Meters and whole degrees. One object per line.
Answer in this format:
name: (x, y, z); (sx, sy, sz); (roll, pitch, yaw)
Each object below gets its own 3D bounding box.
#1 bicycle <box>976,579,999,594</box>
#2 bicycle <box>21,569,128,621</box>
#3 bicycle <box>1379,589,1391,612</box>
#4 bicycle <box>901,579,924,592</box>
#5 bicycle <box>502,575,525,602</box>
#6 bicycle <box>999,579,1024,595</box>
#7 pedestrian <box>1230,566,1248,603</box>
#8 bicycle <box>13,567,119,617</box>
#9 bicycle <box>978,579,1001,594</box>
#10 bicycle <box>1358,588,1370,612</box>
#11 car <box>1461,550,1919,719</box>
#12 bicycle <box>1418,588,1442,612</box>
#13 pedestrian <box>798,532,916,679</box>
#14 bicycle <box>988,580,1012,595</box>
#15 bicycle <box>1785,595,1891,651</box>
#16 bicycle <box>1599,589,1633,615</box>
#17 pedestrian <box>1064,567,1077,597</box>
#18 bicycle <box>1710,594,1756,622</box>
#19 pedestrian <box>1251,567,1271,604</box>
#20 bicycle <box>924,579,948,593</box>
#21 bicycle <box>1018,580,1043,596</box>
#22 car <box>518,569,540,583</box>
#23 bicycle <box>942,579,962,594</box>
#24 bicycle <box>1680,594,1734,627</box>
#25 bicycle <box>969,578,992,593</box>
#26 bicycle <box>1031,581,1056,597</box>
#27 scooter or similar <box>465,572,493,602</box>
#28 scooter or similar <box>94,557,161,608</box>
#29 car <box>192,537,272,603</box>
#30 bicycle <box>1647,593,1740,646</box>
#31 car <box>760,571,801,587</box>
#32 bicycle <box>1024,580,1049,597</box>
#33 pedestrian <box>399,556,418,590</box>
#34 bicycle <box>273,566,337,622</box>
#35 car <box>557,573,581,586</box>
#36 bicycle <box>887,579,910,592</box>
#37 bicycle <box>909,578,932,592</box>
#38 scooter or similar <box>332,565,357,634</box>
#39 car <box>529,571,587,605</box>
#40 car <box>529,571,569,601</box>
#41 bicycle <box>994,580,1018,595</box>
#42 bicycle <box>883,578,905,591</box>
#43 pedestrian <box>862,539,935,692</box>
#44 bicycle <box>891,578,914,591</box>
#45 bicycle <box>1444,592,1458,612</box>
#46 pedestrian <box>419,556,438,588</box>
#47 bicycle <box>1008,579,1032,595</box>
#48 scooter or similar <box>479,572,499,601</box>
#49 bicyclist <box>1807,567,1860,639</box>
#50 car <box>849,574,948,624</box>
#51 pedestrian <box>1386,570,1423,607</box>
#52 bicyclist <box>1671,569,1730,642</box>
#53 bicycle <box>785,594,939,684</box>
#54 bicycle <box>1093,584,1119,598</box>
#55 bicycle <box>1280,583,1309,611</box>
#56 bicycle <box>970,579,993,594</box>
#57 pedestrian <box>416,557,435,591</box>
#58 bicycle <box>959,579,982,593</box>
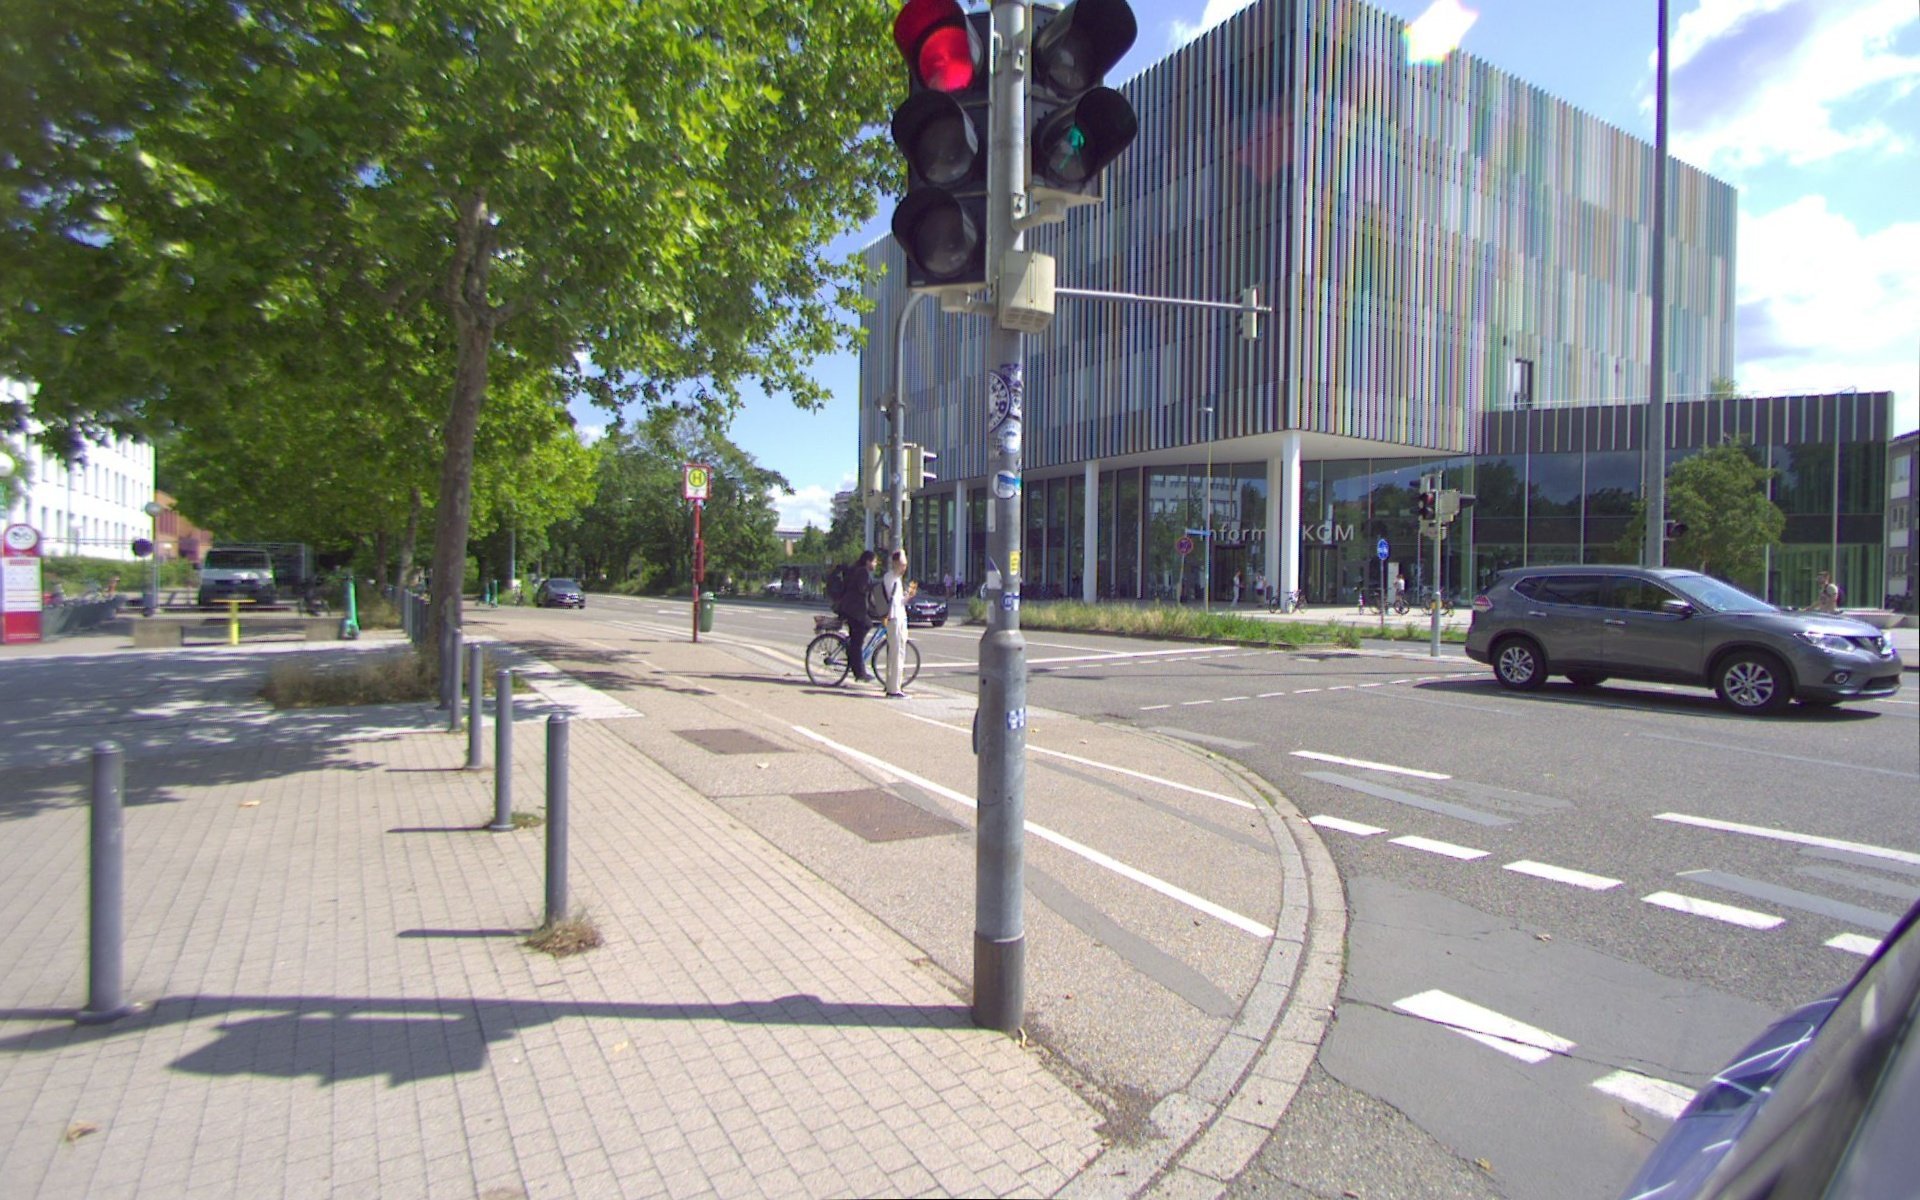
bicycle: (1.831, -0.919, 67.183); (1.514, 0.967, 0.374); (-1, 2, -17)
bicycle: (-20.394, -0.135, 23.338); (0.598, 1.112, 1.751); (1, 3, 27)
bicycle: (18.536, 0.007, 44.132); (0.369, 0.967, 1.763); (1, 2, 19)
bicycle: (-3.549, -1.081, 76.023); (1.750, 0.967, 0.433); (-2, 2, -32)
bicycle: (-20.818, -0.531, 47.178); (0.627, 1.206, 2.120); (2, 0, -32)
bicycle: (3.279, -0.834, 64.284); (1.514, 0.967, 0.374); (-1, 2, -17)
pedestrian: (14.040, -0.799, 50.962); (0.774, 1.864, 0.517); (0, 1, 3)
bicycle: (-20.958, -0.218, 23.752); (0.598, 1.112, 1.751); (1, 3, 27)
bicycle: (1.935, -0.882, 66.577); (1.514, 0.967, 0.374); (-1, 2, -17)
bicycle: (17.640, -0.009, 44.210); (0.369, 0.967, 1.537); (1, 2, 19)
car: (8.862, 0.270, 12.590); (1.788, 1.699, 4.485); (0, 2, -28)
bicycle: (20.099, -0.015, 43.258); (0.526, 0.967, 1.749); (2, 2, 38)
pedestrian: (-1.393, 0.071, 13.641); (1.152, 1.842, 0.857); (5, 1, -33)
bicycle: (2.572, -0.822, 65.799); (1.514, 0.967, 0.374); (-1, 2, -17)
bicycle: (19.332, 0.488, 22.336); (1.660, 1.138, 0.687); (2, 1, 34)
bicycle: (26.294, 0.084, 40.565); (0.521, 0.967, 1.768); (1, 2, 12)
pedestrian: (6.900, -1.121, 63.054); (0.552, 1.864, 0.554); (-1, 2, -39)
bicycle: (29.619, 0.293, 38.791); (0.520, 0.967, 1.771); (1, 2, 6)
pedestrian: (15.153, -0.733, 50.933); (0.677, 1.864, 0.679); (0, 2, -24)
bicycle: (-1.715, -1.049, 73.134); (1.750, 0.967, 0.433); (-2, 2, -32)
bicycle: (4.386, -0.756, 62.960); (1.514, 0.967, 0.374); (-1, 2, -17)
car: (-57.343, -3.221, 134.610); (1.867, 1.834, 4.735); (1, 1, -33)
bicycle: (-0.564, -0.941, 69.286); (1.521, 0.967, 0.373); (-2, 3, -43)
bicycle: (23.958, 0.326, 32.489); (0.520, 0.967, 1.771); (1, 2, 6)
bicycle: (1.400, -0.967, 68.077); (1.514, 0.967, 0.374); (-1, 2, -17)
bicycle: (5.104, -0.685, 61.856); (1.514, 0.967, 0.374); (-1, 2, -17)
scooter or similar: (-21.055, -0.573, 44.283); (0.520, 1.262, 1.288); (2, 0, 2)
scooter or similar: (-20.789, -0.438, 25.293); (0.280, 1.248, 1.278); (3, 3, 43)
car: (-22.468, -0.951, 31.377); (1.867, 1.887, 4.943); (-1, 2, -34)
bicycle: (17.071, 0.436, 23.599); (1.657, 1.138, 0.688); (1, 1, 31)
car: (-18.418, -2.152, 103.595); (3.750, 1.529, 1.903); (-2, 3, -26)
bicycle: (4.707, -0.706, 62.348); (1.514, 0.967, 0.374); (-1, 2, -17)
pedestrian: (-29.486, -1.428, 54.134); (0.670, 1.802, 0.793); (-1, 2, -10)
bicycle: (-14.736, -0.166, 22.833); (0.783, 1.197, 2.036); (-1, 2, -21)
car: (-42.478, -2.238, 109.992); (1.959, 1.437, 4.006); (0, 2, -28)
bicycle: (-4.728, -1.109, 78.030); (1.750, 0.967, 0.433); (-2, 2, -32)
bicycle: (-2.925, -1.129, 75.273); (1.750, 0.967, 0.433); (-2, 2, -32)
scooter or similar: (-11.069, -0.029, 18.207); (0.346, 1.179, 1.194); (-1, 2, -31)
car: (-19.787, -0.599, 49.683); (1.825, 1.497, 4.946); (2, 0, -31)
car: (-22.298, -0.752, 54.821); (1.707, 1.469, 4.951); (2, 0, -25)
bicycle: (2.953, -0.809, 64.852); (1.514, 0.967, 0.374); (-1, 2, -17)
bicycle: (-5.109, -1.233, 78.622); (1.750, 0.967, 0.433); (-2, 2, -32)
pedestrian: (-0.757, 0.183, 12.474); (0.599, 1.823, 0.596); (3, 0, -36)
bicycle: (-4.397, -1.186, 77.218); (1.750, 0.967, 0.433); (-2, 2, -32)
bicycle: (20.777, 0.079, 42.818); (0.524, 0.773, 1.758); (1, 2, 26)
pedestrian: (-29.469, -1.561, 56.086); (0.670, 1.802, 0.792); (-1, 2, -8)
bicycle: (3.780, -0.809, 63.932); (1.514, 0.967, 0.374); (-1, 2, -17)
scooter or similar: (-19.716, -0.551, 42.376); (0.519, 1.184, 1.578); (2, 0, -18)
bicyclist: (19.286, 0.059, 22.362); (0.780, 1.557, 0.649); (1, 1, 34)
car: (-2.012, -0.085, 31.702); (1.792, 1.433, 4.200); (0, 2, -23)
pedestrian: (20.289, -0.526, 46.210); (1.159, 1.671, 1.016); (0, 1, -31)
bicyclist: (17.200, 0.110, 23.525); (0.991, 1.635, 0.650); (1, 1, 30)
bicycle: (-1.317, 0.537, 13.719); (1.854, 1.086, 0.819); (4, 0, -33)
bicycle: (8.315, -0.513, 57.669); (1.515, 0.785, 0.374); (-2, 2, -28)
bicycle: (14.941, -0.150, 45.190); (1.517, 1.201, 0.374); (-2, 3, -33)
bicycle: (1.455, -0.916, 67.654); (1.514, 0.967, 0.374); (-1, 2, -17)
pedestrian: (-28.658, -1.425, 54.251); (0.670, 1.802, 0.793); (-1, 2, -12)
bicycle: (0.747, -0.955, 69.113); (1.514, 0.967, 0.374); (-1, 2, -17)
